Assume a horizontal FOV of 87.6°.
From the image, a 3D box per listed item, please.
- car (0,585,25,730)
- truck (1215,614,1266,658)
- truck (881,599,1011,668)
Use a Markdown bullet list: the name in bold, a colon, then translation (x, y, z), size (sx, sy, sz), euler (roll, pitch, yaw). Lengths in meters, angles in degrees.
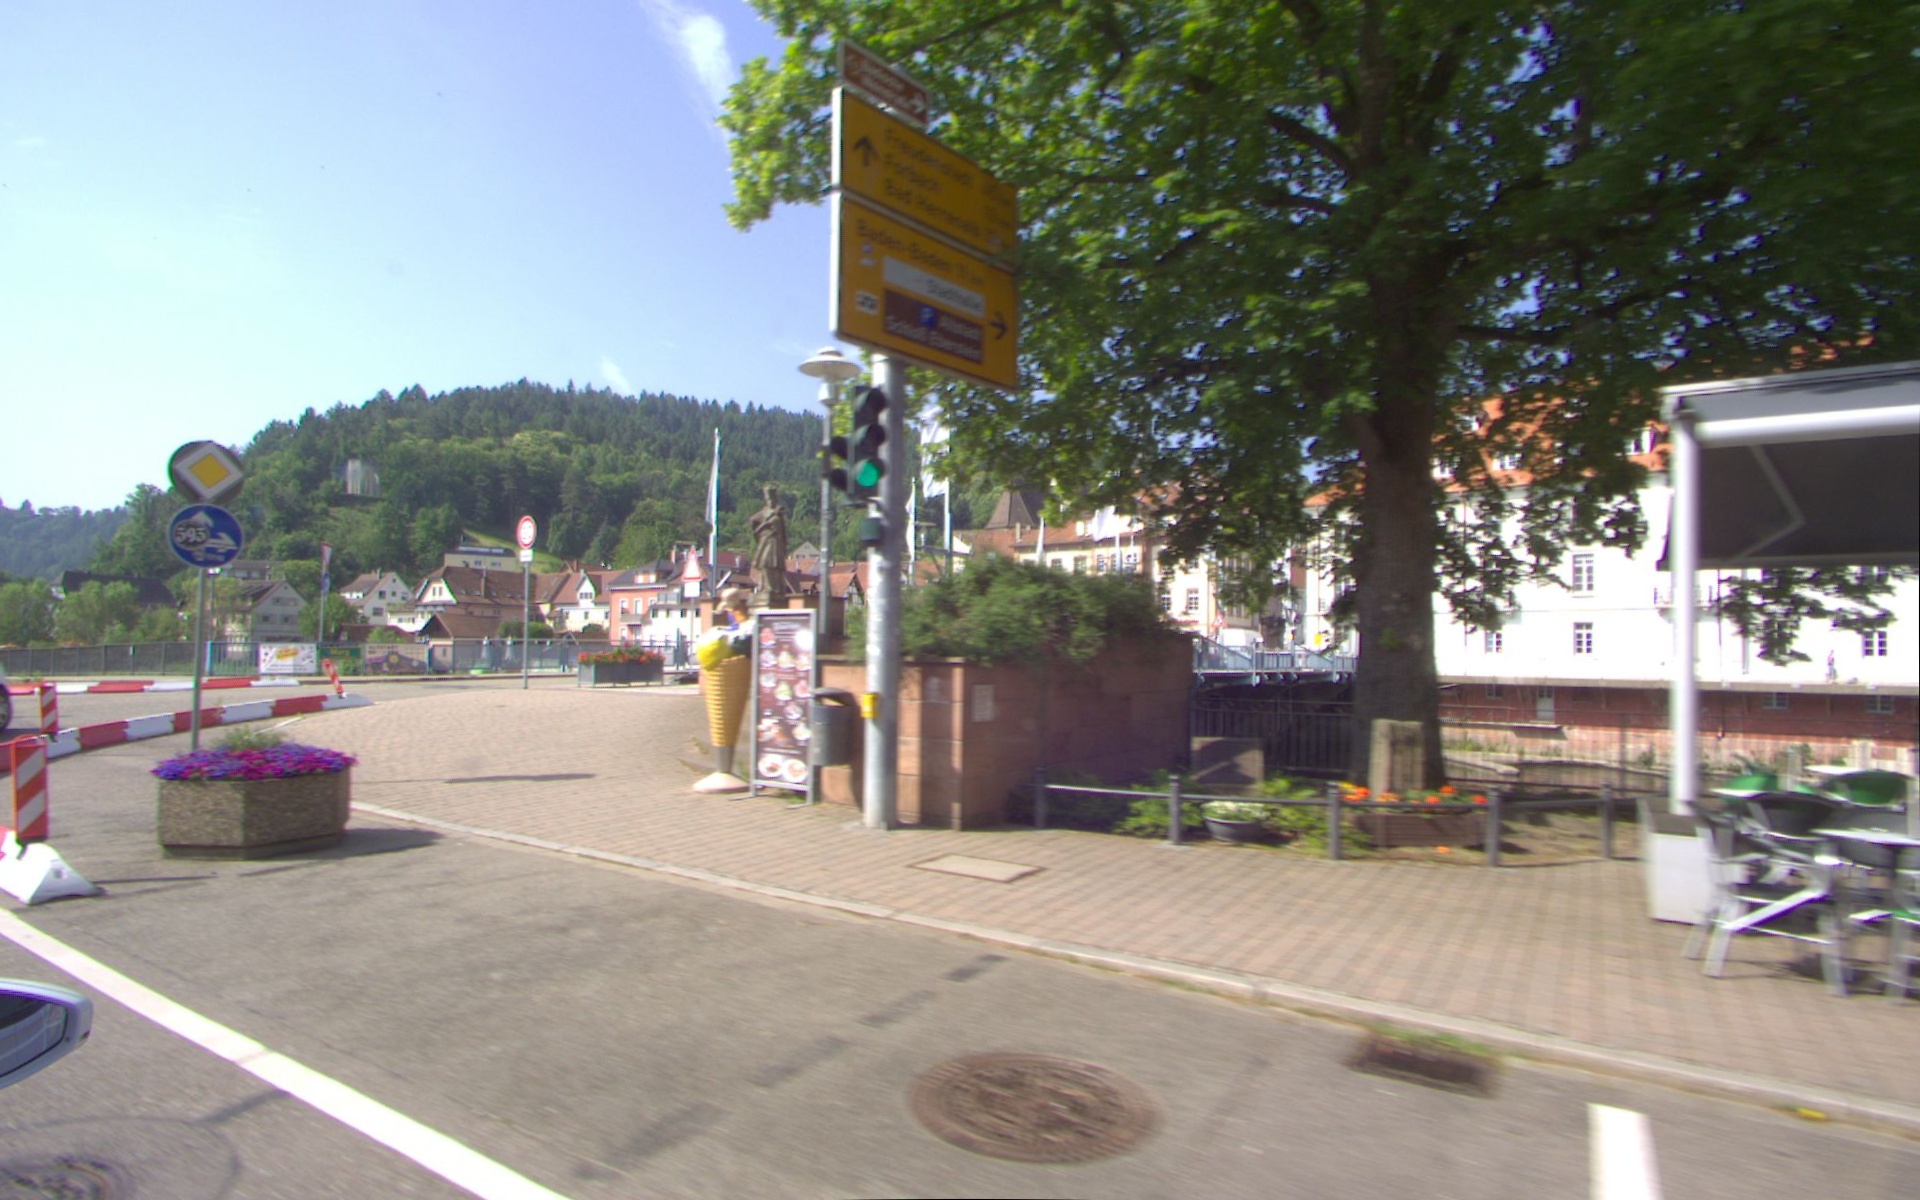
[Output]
- **car**: translation (-13.052, 0.736, 11.669), size (1.821, 1.931, 4.299), euler (1, -1, -24)
- **truck**: translation (17.684, 2.292, 62.980), size (1.841, 2.617, 4.239), euler (0, -3, 34)
- **truck**: translation (-0.464, 1.392, 43.172), size (2.082, 2.733, 7.096), euler (-1, -1, 32)
